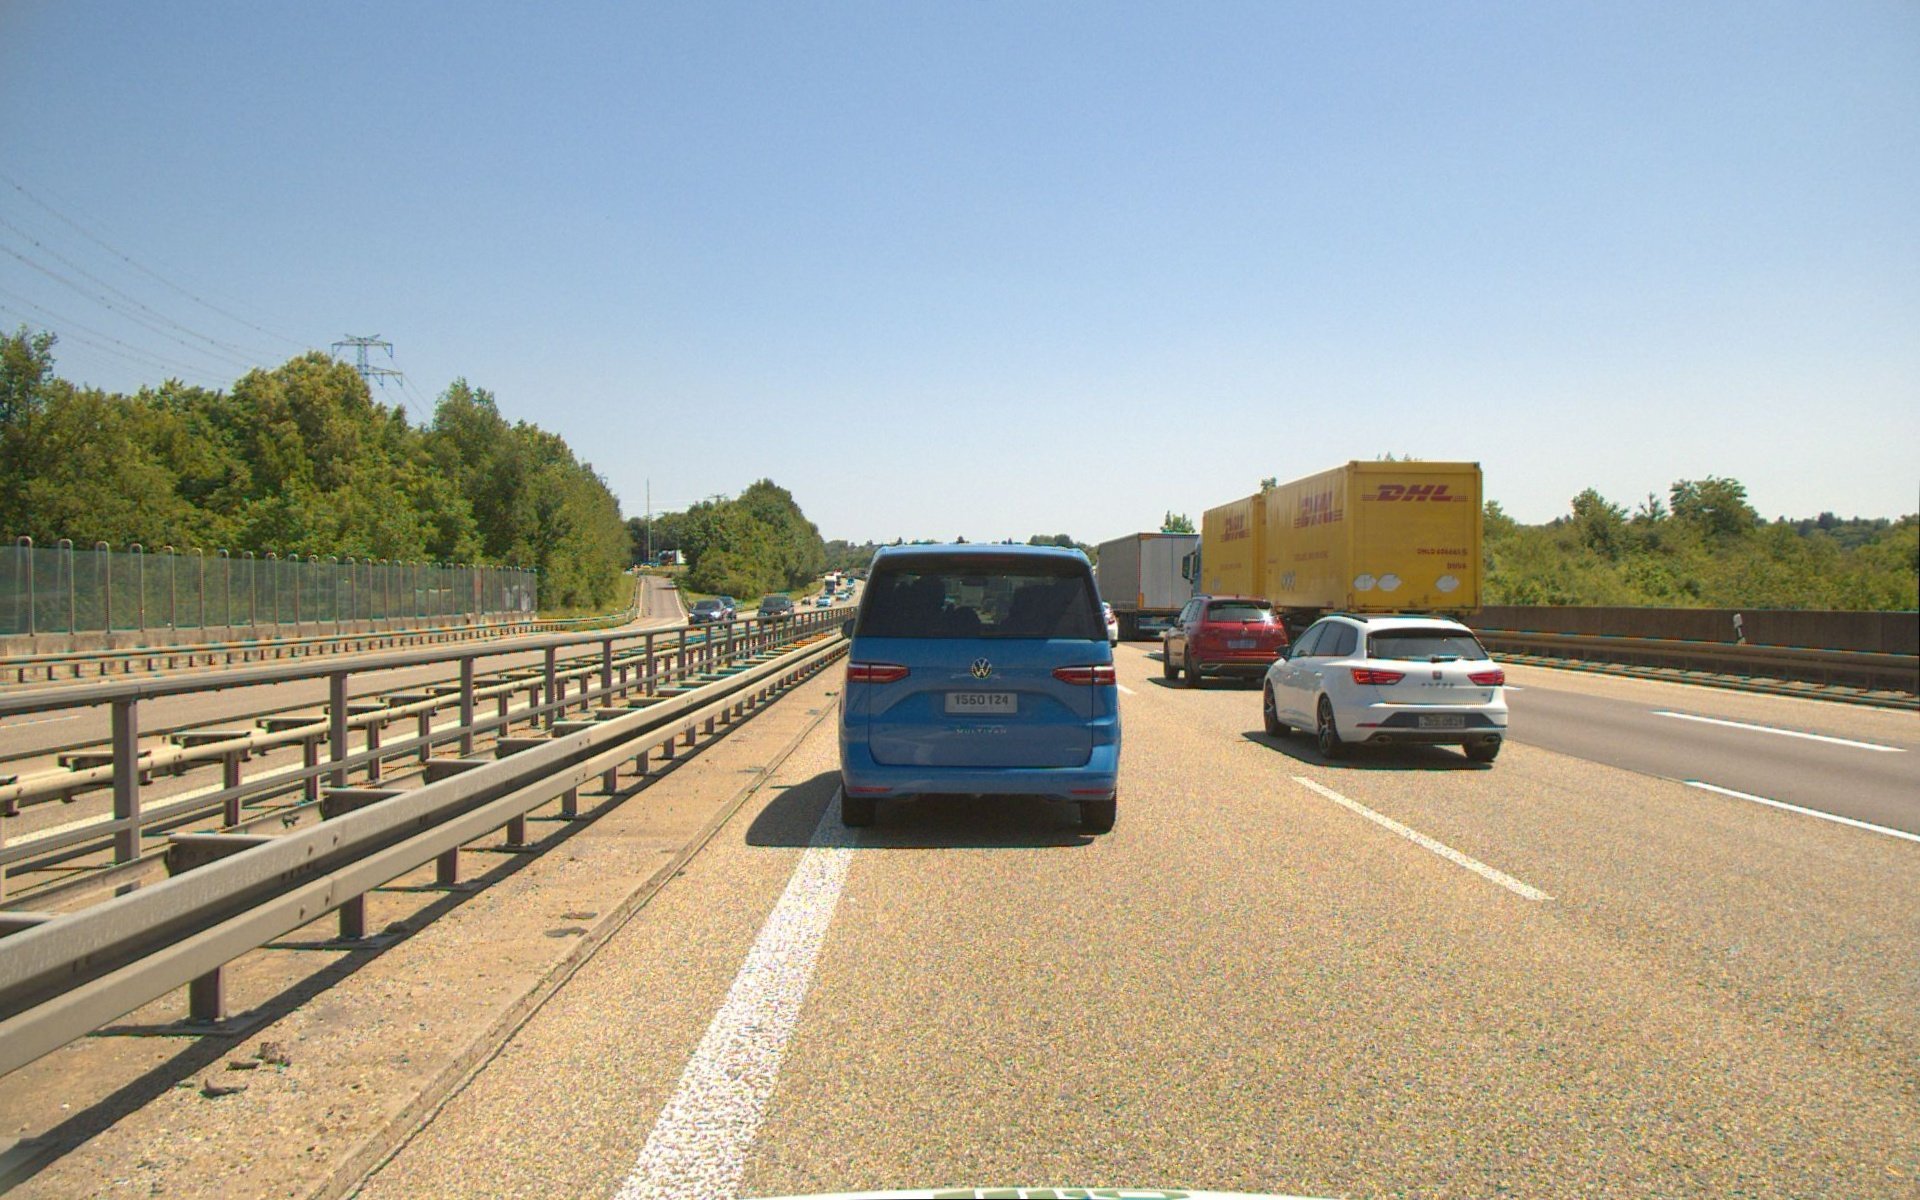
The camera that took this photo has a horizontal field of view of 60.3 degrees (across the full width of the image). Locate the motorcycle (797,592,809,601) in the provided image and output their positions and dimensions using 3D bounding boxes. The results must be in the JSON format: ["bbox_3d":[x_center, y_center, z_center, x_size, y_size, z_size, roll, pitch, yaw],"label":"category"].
[{"bbox_3d":[-21.604,-0.447,227.934,1.338,1.118,2.575,-3,0,-1],"label":"motorcycle"}]

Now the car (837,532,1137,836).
[{"bbox_3d":[0.148,0.520,12.233,1.844,1.869,3.999,0,0,-1],"label":"car"}]

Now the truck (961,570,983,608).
[{"bbox_3d":[1.757,-1.589,250.142,2.777,5.467,12.549,1,-1,-2],"label":"truck"}]

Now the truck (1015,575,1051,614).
[{"bbox_3d":[6.450,-0.418,147.138,2.308,3.275,9.736,1,-1,-2],"label":"truck"}]

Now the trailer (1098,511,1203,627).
[{"bbox_3d":[7.504,-1.091,66.613,2.699,4.219,11.309,1,-1,-1],"label":"trailer"}]

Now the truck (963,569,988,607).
[{"bbox_3d":[2.096,-1.658,229.279,2.777,4.971,13.214,-1,0,-2],"label":"truck"}]

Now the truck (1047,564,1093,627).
[{"bbox_3d":[6.906,-0.250,104.397,2.320,3.787,6.031,1,-1,-1],"label":"truck"}]

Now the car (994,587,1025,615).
[{"bbox_3d":[2.916,0.062,98.532,1.680,1.567,3.820,-1,0,-1],"label":"car"}]

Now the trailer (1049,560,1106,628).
[{"bbox_3d":[6.947,-0.305,98.803,2.331,3.810,11.185,1,-1,-1],"label":"trailer"}]

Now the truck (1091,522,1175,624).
[{"bbox_3d":[7.437,-1.069,71.847,2.712,4.167,6.982,1,-1,-1],"label":"truck"}]

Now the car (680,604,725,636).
[{"bbox_3d":[-13.652,1.045,87.852,1.719,1.574,3.999,-2,-1,-1],"label":"car"}]

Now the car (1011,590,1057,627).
[{"bbox_3d":[3.354,0.387,75.756,1.681,1.614,3.818,-1,0,-4],"label":"car"}]

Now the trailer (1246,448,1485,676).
[{"bbox_3d":[8.164,-0.654,34.603,2.646,4.094,8.928,1,-1,-1],"label":"trailer"}]

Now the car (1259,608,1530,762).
[{"bbox_3d":[4.455,0.805,17.597,1.745,1.411,4.187,0,0,-1],"label":"car"}]

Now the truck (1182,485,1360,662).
[{"bbox_3d":[8.046,-0.582,44.258,2.667,4.125,10.334,1,-1,-1],"label":"truck"}]

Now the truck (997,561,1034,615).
[{"bbox_3d":[5.468,-1.117,164.576,2.777,5.128,11.140,1,-1,-2],"label":"truck"}]

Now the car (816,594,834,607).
[{"bbox_3d":[-16.504,0.076,202.287,1.871,1.418,4.164,-2,-1,-1],"label":"car"}]

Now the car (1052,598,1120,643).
[{"bbox_3d":[4.178,0.671,55.311,1.801,1.438,3.998,0,0,-2],"label":"car"}]

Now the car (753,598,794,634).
[{"bbox_3d":[-9.678,0.817,86.058,1.719,1.751,4.100,-1,0,-1],"label":"car"}]

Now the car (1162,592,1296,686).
[{"bbox_3d":[4.941,0.669,30.835,1.813,1.636,3.999,0,0,-1],"label":"car"}]
